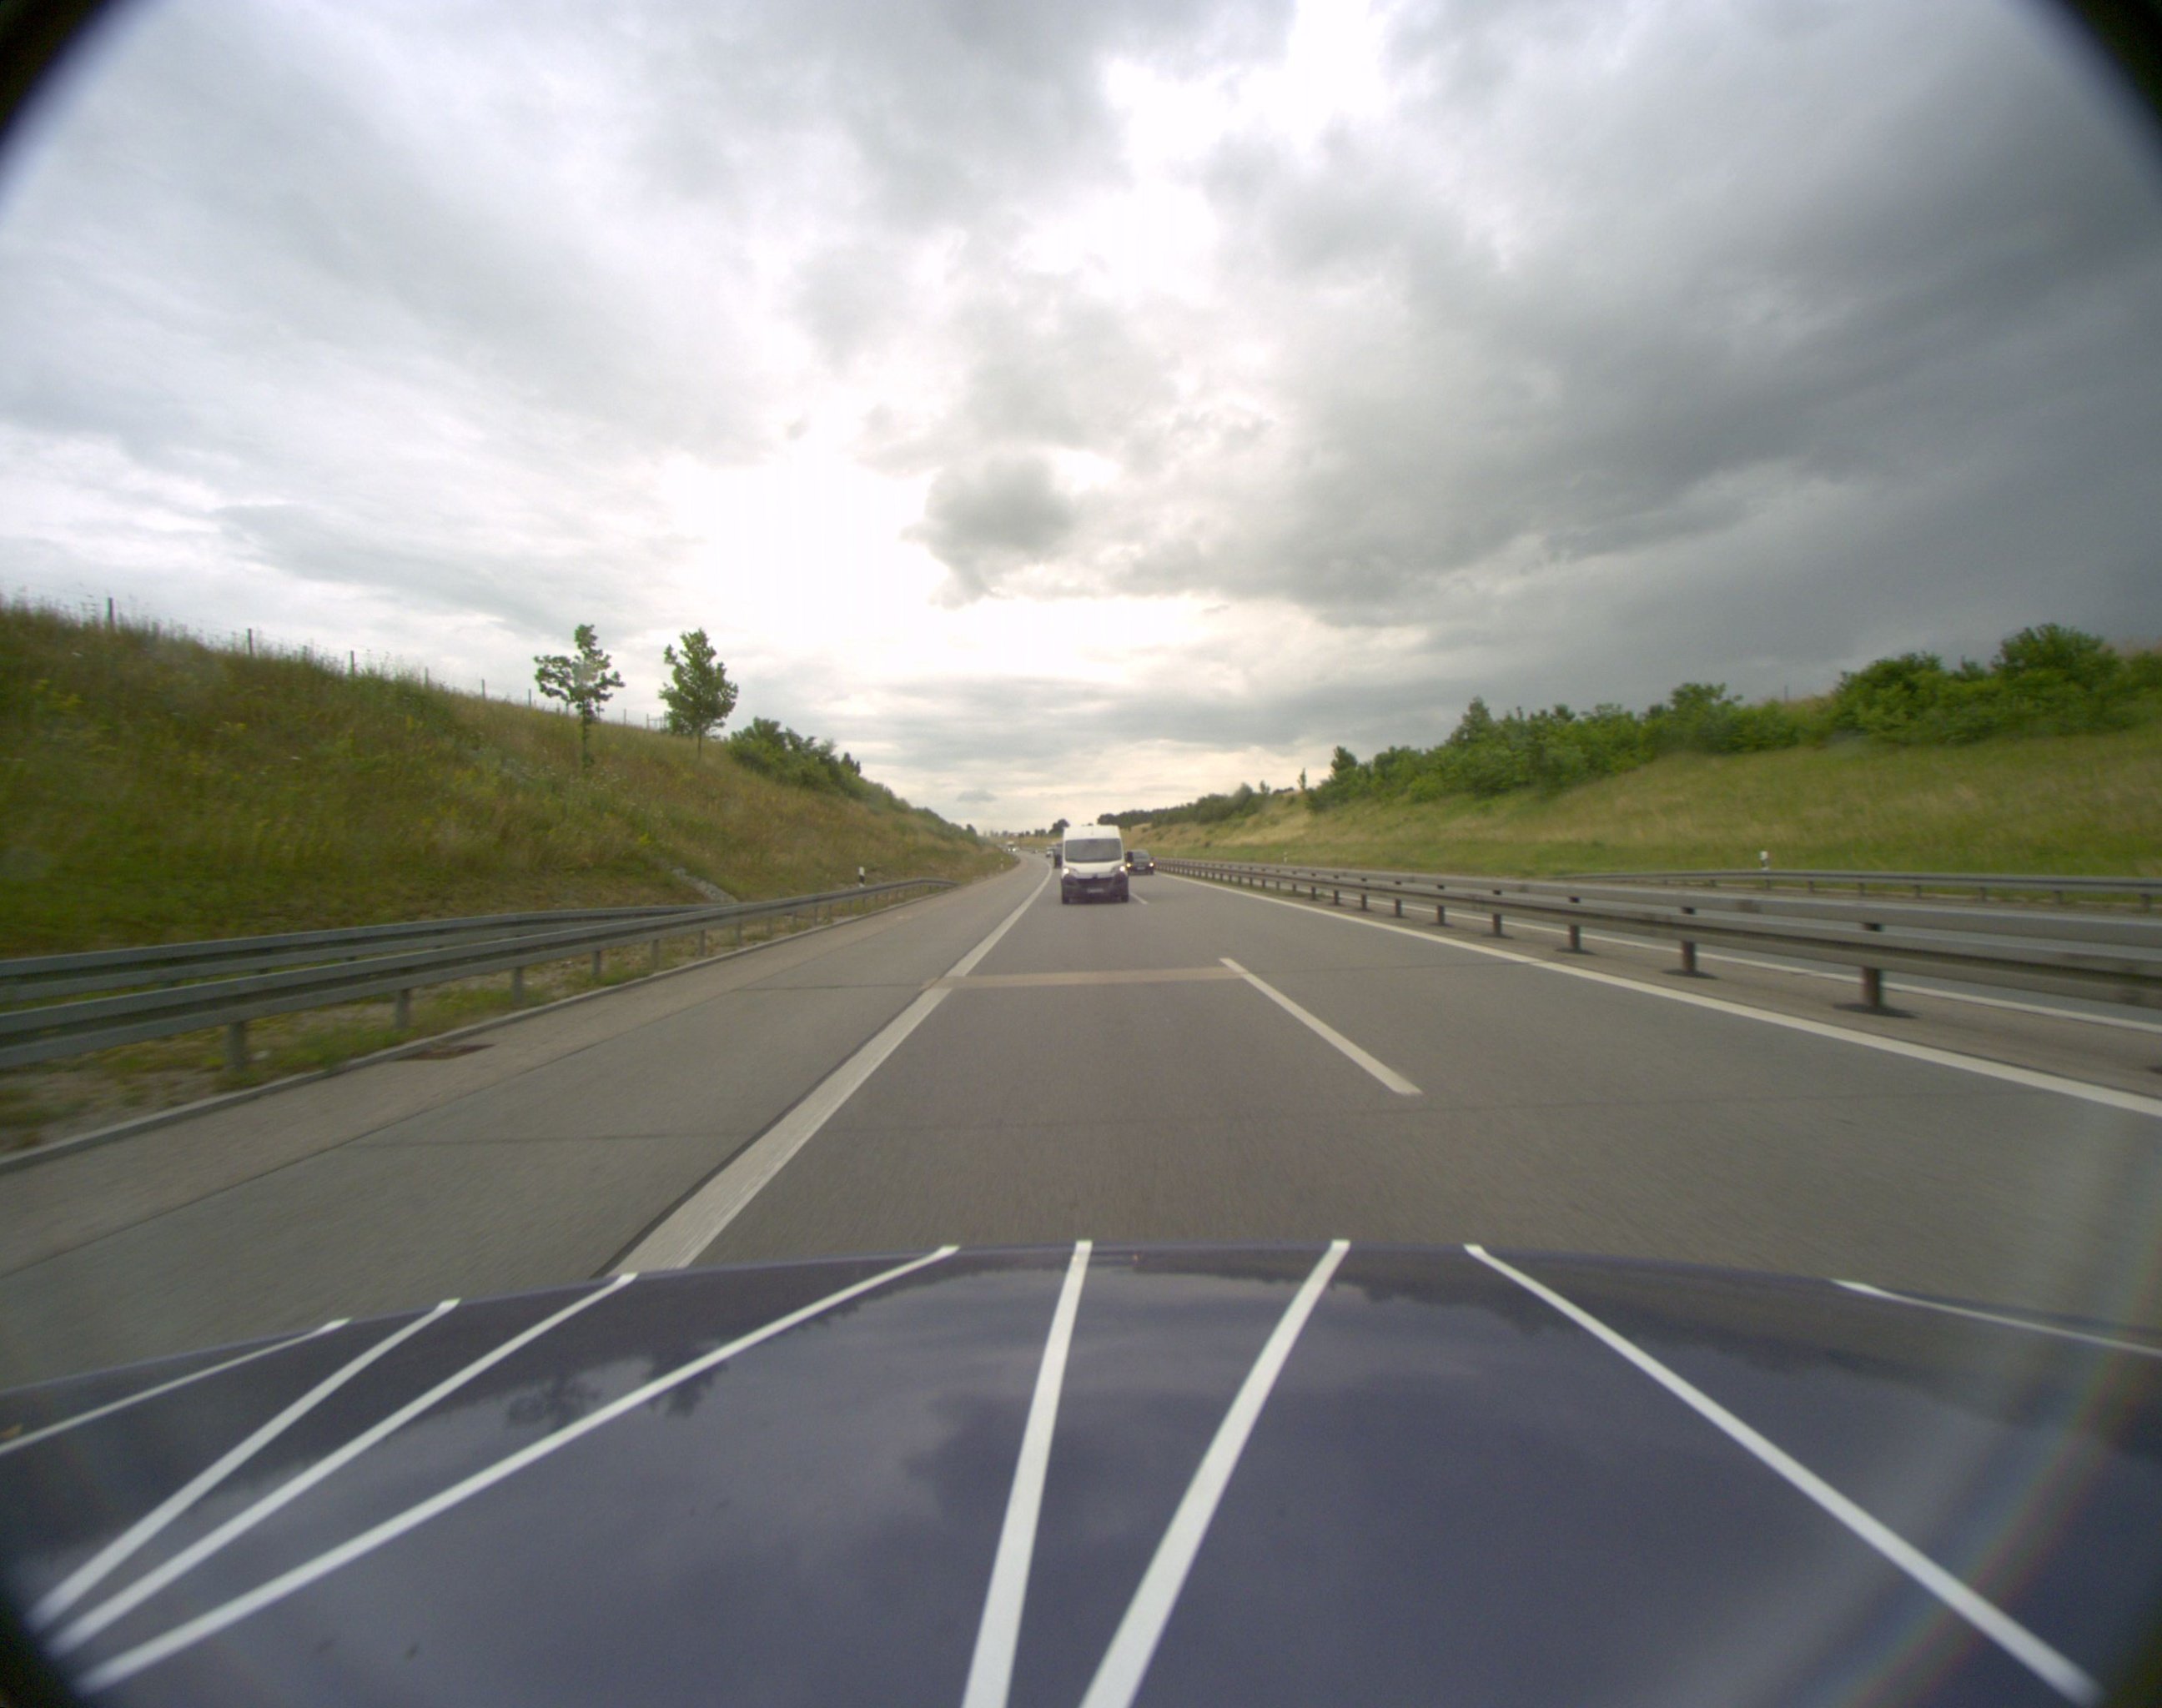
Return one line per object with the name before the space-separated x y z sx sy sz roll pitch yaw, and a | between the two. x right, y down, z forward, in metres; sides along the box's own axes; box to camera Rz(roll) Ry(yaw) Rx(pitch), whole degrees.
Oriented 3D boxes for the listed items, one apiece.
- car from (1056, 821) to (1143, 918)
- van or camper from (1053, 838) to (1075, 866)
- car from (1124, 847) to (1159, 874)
car | 0.437 0.333 22.049 2.132 2.412 6.110 -1 1 -1
van or camper | -1.872 -0.277 80.284 2.104 2.722 6.899 -2 1 -3
car | 3.962 0.392 50.213 1.901 1.661 5.396 -1 0 1
